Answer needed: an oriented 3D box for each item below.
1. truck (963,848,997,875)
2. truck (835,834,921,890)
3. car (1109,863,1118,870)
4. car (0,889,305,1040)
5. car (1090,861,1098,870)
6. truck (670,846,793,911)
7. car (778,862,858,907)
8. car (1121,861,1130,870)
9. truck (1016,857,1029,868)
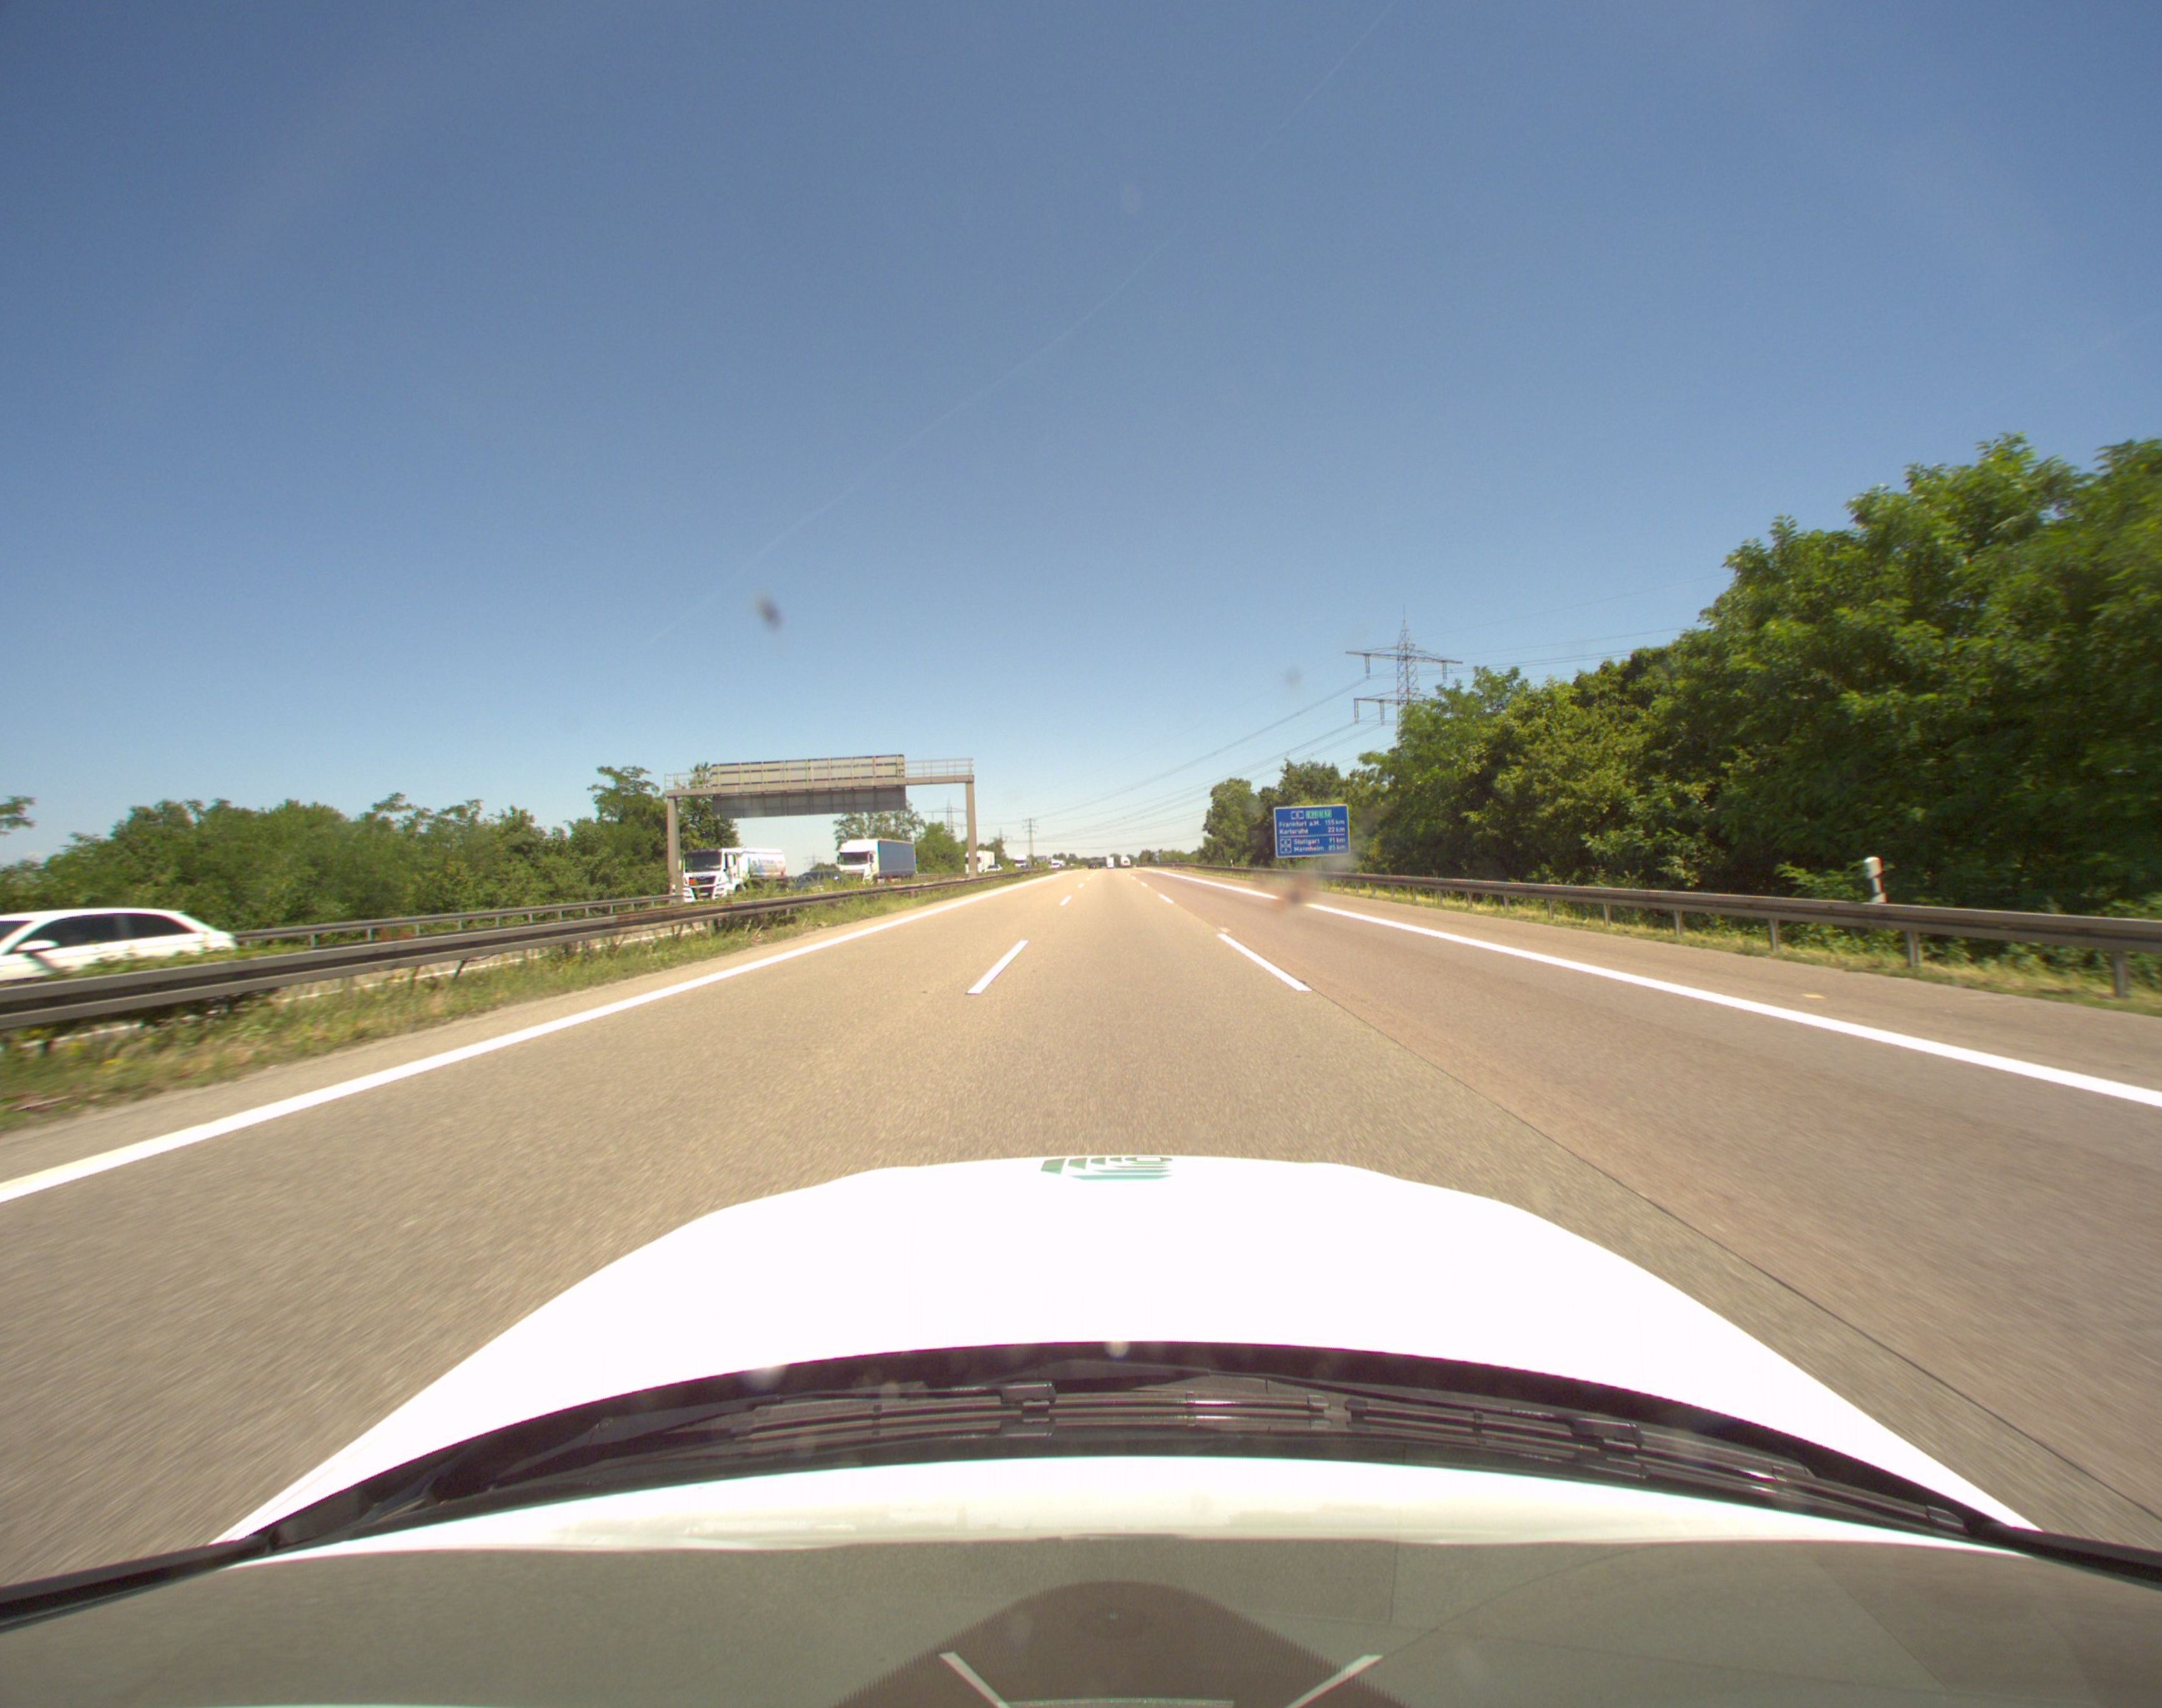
[{"bbox_3d":[-16.489,1.208,134.268,2.950,4.091,17.031,-2,0,1],"label":"truck"},{"bbox_3d":[-17.810,0.693,73.179,2.702,4.389,17.333,-2,0,2],"label":"truck"},{"bbox_3d":[9.129,3.536,230.403,2.166,1.929,4.618,-3,0,5],"label":"car"},{"bbox_3d":[-12.721,1.309,10.106,1.986,1.510,4.244,-3,0,1],"label":"car"},{"bbox_3d":[2.941,2.575,187.099,1.784,2.013,3.889,-1,0,2],"label":"car"},{"bbox_3d":[-19.302,1.263,45.751,2.702,3.208,8.928,-2,0,2],"label":"truck"},{"bbox_3d":[-11.572,1.301,36.109,1.986,1.734,4.244,-3,0,1],"label":"car"},{"bbox_3d":[10.509,2.675,194.005,1.986,2.013,4.001,-3,0,1],"label":"car"},{"bbox_3d":[-13.581,1.910,188.627,2.493,2.464,12.281,-2,0,-2],"label":"truck"}]
